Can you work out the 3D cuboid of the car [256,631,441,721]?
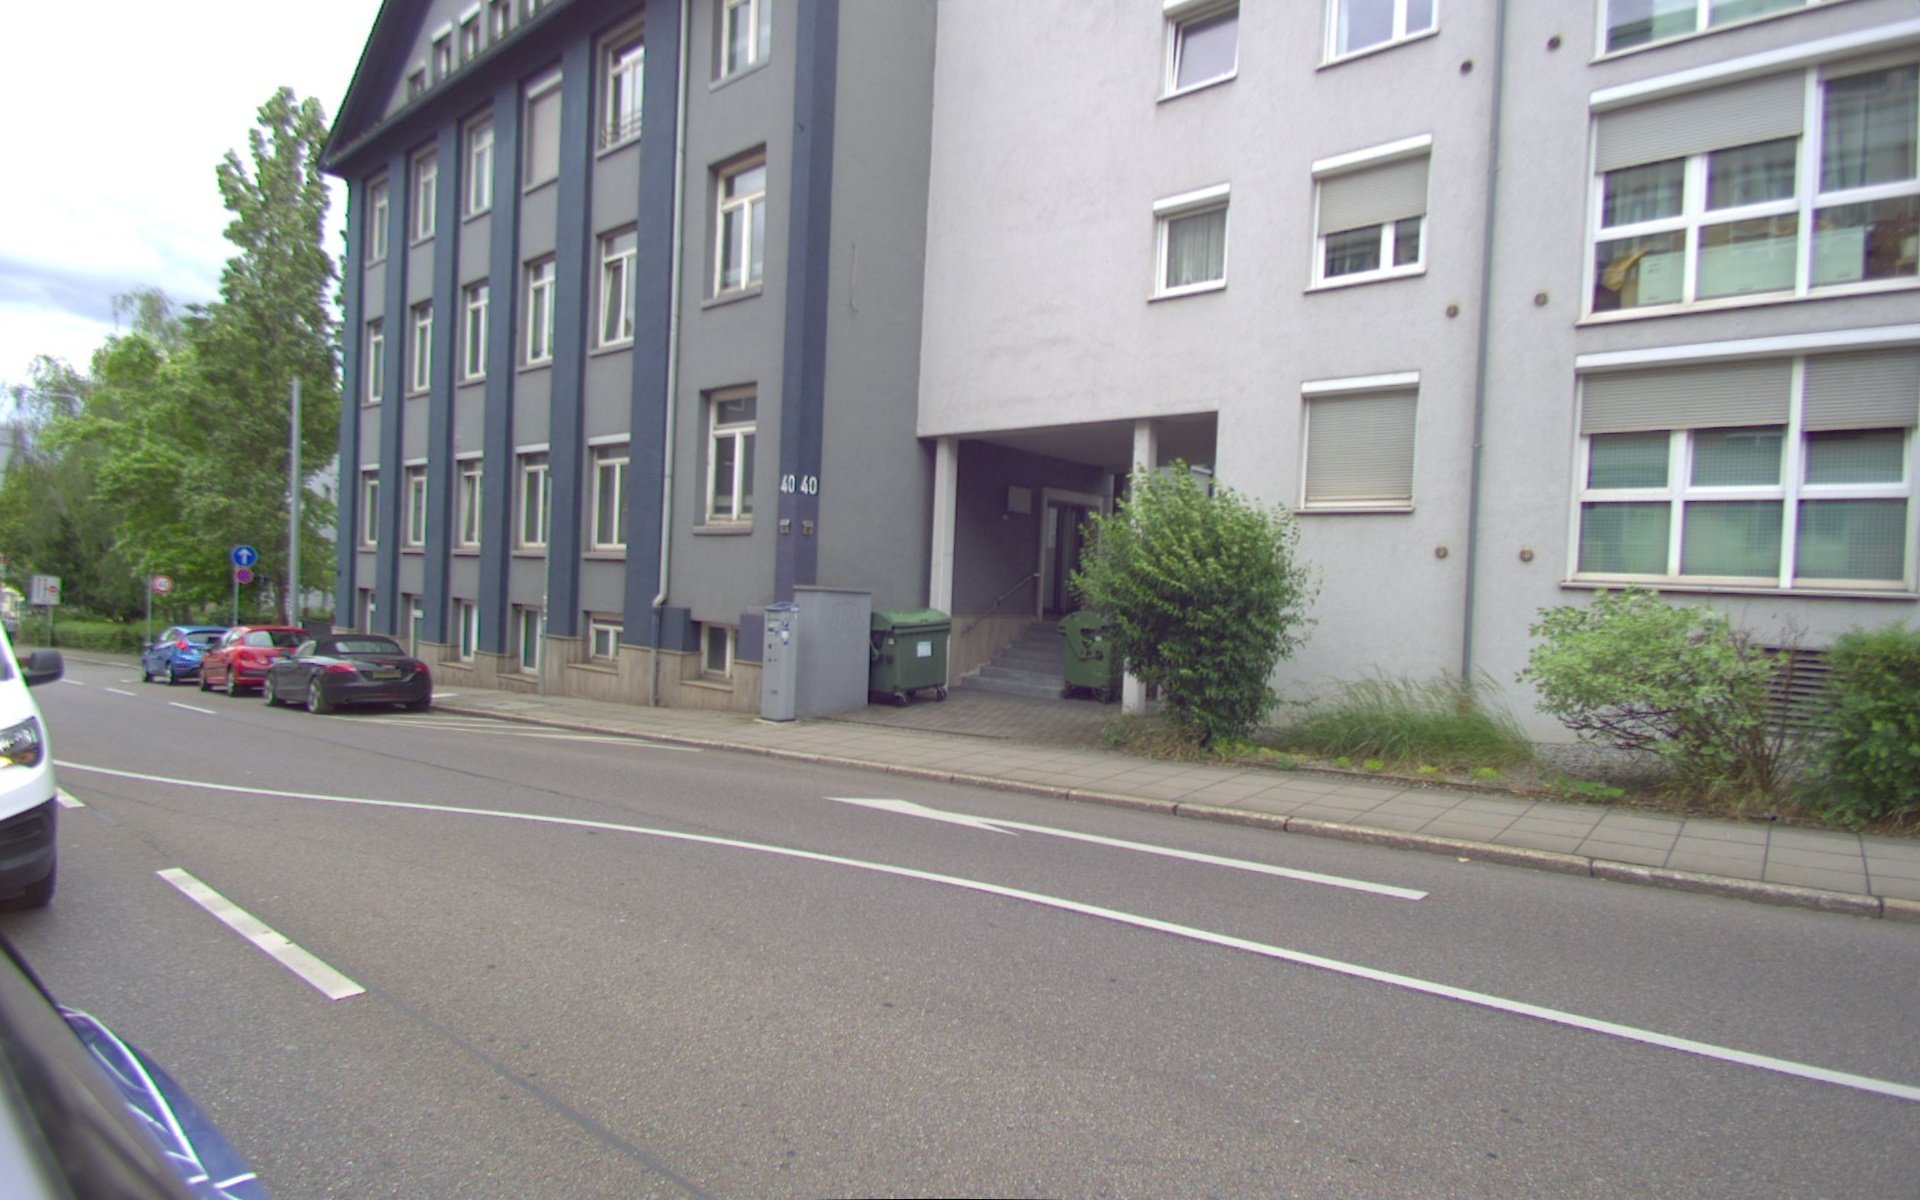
[{"bbox_3d":[-11.003,1.270,18.121,3.727,1.403,1.778,-1,-2,41],"label":"car"}]

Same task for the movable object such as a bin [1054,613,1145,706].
[{"bbox_3d":[2.287,0.938,16.553,1.078,1.427,1.026,-1,0,41],"label":"movable object such as a bin"}]

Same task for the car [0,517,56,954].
[{"bbox_3d":[-6.124,0.615,5.213,3.998,1.901,1.716,-1,0,41],"label":"car"}]

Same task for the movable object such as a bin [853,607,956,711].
[{"bbox_3d":[-0.861,0.882,15.728,1.039,1.518,1.213,-1,0,41],"label":"movable object such as a bin"}]

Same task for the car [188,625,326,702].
[{"bbox_3d":[-15.342,1.315,22.030,3.727,1.460,1.623,-1,0,41],"label":"car"}]

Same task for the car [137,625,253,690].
[{"bbox_3d":[-19.433,1.402,25.649,3.727,1.460,1.623,-1,0,41],"label":"car"}]
